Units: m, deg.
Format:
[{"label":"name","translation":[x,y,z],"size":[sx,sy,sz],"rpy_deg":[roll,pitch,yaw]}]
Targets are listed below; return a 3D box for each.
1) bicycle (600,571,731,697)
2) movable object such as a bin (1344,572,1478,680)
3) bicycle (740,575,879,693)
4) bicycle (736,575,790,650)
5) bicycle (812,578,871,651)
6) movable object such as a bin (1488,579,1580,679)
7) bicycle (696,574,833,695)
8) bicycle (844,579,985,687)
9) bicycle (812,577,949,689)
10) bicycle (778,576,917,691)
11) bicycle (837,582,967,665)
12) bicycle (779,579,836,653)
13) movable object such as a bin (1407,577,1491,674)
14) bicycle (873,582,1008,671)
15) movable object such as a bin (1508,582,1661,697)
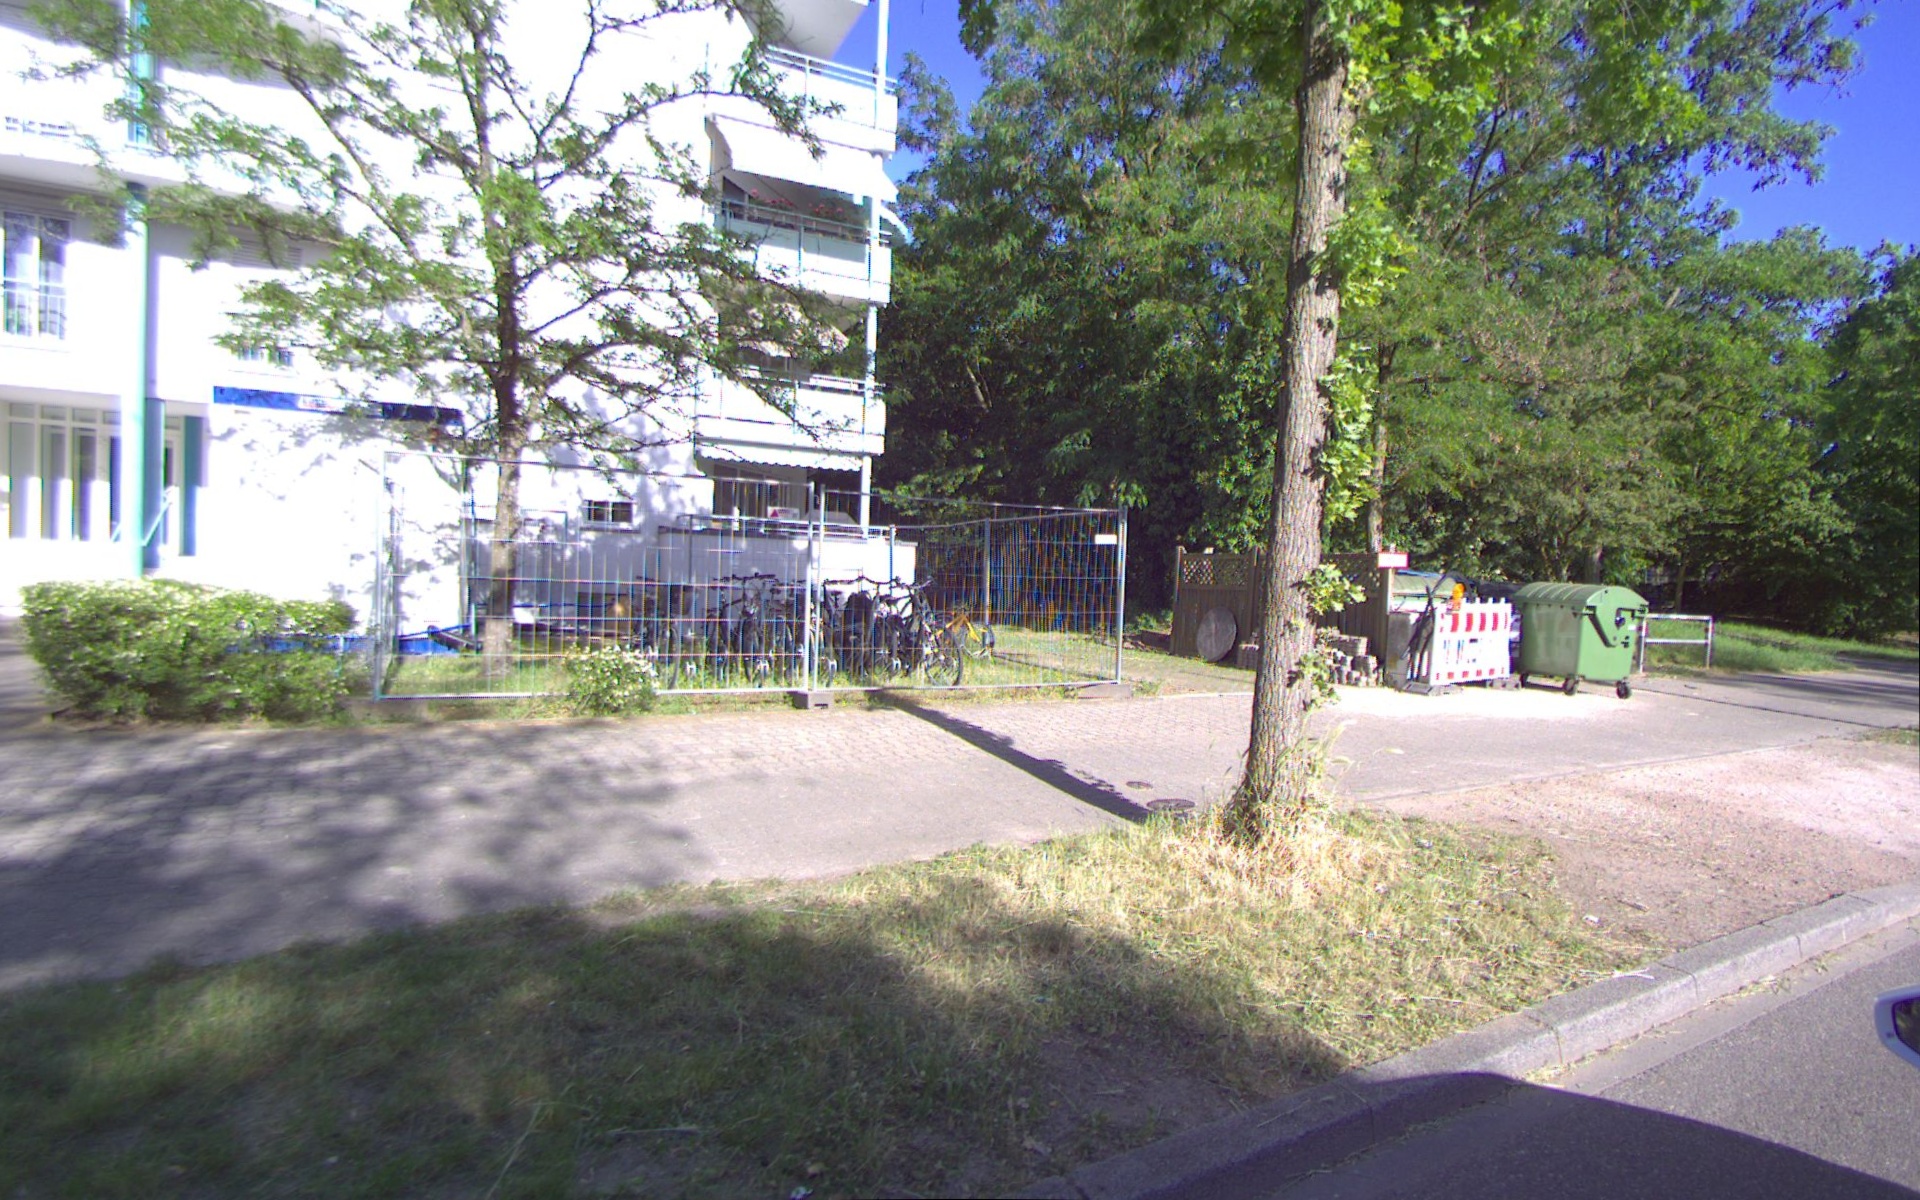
[{"label":"bicycle","translation":[-2.830,0.278,9.529],"size":[0.397,1.040,1.851],"rpy_deg":[1,2,-42]},{"label":"movable object such as a bin","translation":[6.499,0.344,14.576],"size":[1.300,1.455,1.273],"rpy_deg":[2,1,-2]},{"label":"bicycle","translation":[-1.552,0.301,10.111],"size":[0.397,1.040,1.820],"rpy_deg":[1,2,-42]},{"label":"bicycle","translation":[-2.987,0.168,15.161],"size":[0.395,1.040,1.690],"rpy_deg":[2,1,-24]},{"label":"bicycle","translation":[-1.865,0.207,15.643],"size":[0.395,1.040,1.690],"rpy_deg":[2,1,-24]},{"label":"movable object such as a bin","translation":[9.016,0.425,15.851],"size":[1.123,1.455,1.272],"rpy_deg":[3,2,26]},{"label":"bicycle","translation":[-1.966,0.297,9.892],"size":[0.397,1.040,1.837],"rpy_deg":[1,2,-42]},{"label":"bicycle","translation":[-0.540,0.326,11.047],"size":[0.397,1.040,1.896],"rpy_deg":[1,2,-42]},{"label":"bicycle","translation":[-0.886,0.316,10.726],"size":[0.397,1.040,1.820],"rpy_deg":[1,2,-42]},{"label":"bicycle","translation":[-1.207,0.311,10.446],"size":[0.397,1.040,1.841],"rpy_deg":[1,2,-42]},{"label":"bicycle","translation":[-0.754,0.325,13.377],"size":[1.680,1.040,0.397],"rpy_deg":[2,2,-29]},{"label":"bicycle","translation":[-2.363,0.217,15.412],"size":[0.395,1.040,1.690],"rpy_deg":[2,1,-24]},{"label":"movable object such as a bin","translation":[7.889,0.389,16.228],"size":[1.123,1.455,1.272],"rpy_deg":[3,2,26]},{"label":"bicycle","translation":[-0.223,0.338,12.509],"size":[1.681,1.040,0.397],"rpy_deg":[2,2,-32]},{"label":"movable object such as a bin","translation":[8.421,0.509,13.600],"size":[1.161,1.455,1.269],"rpy_deg":[1,2,-14]}]
